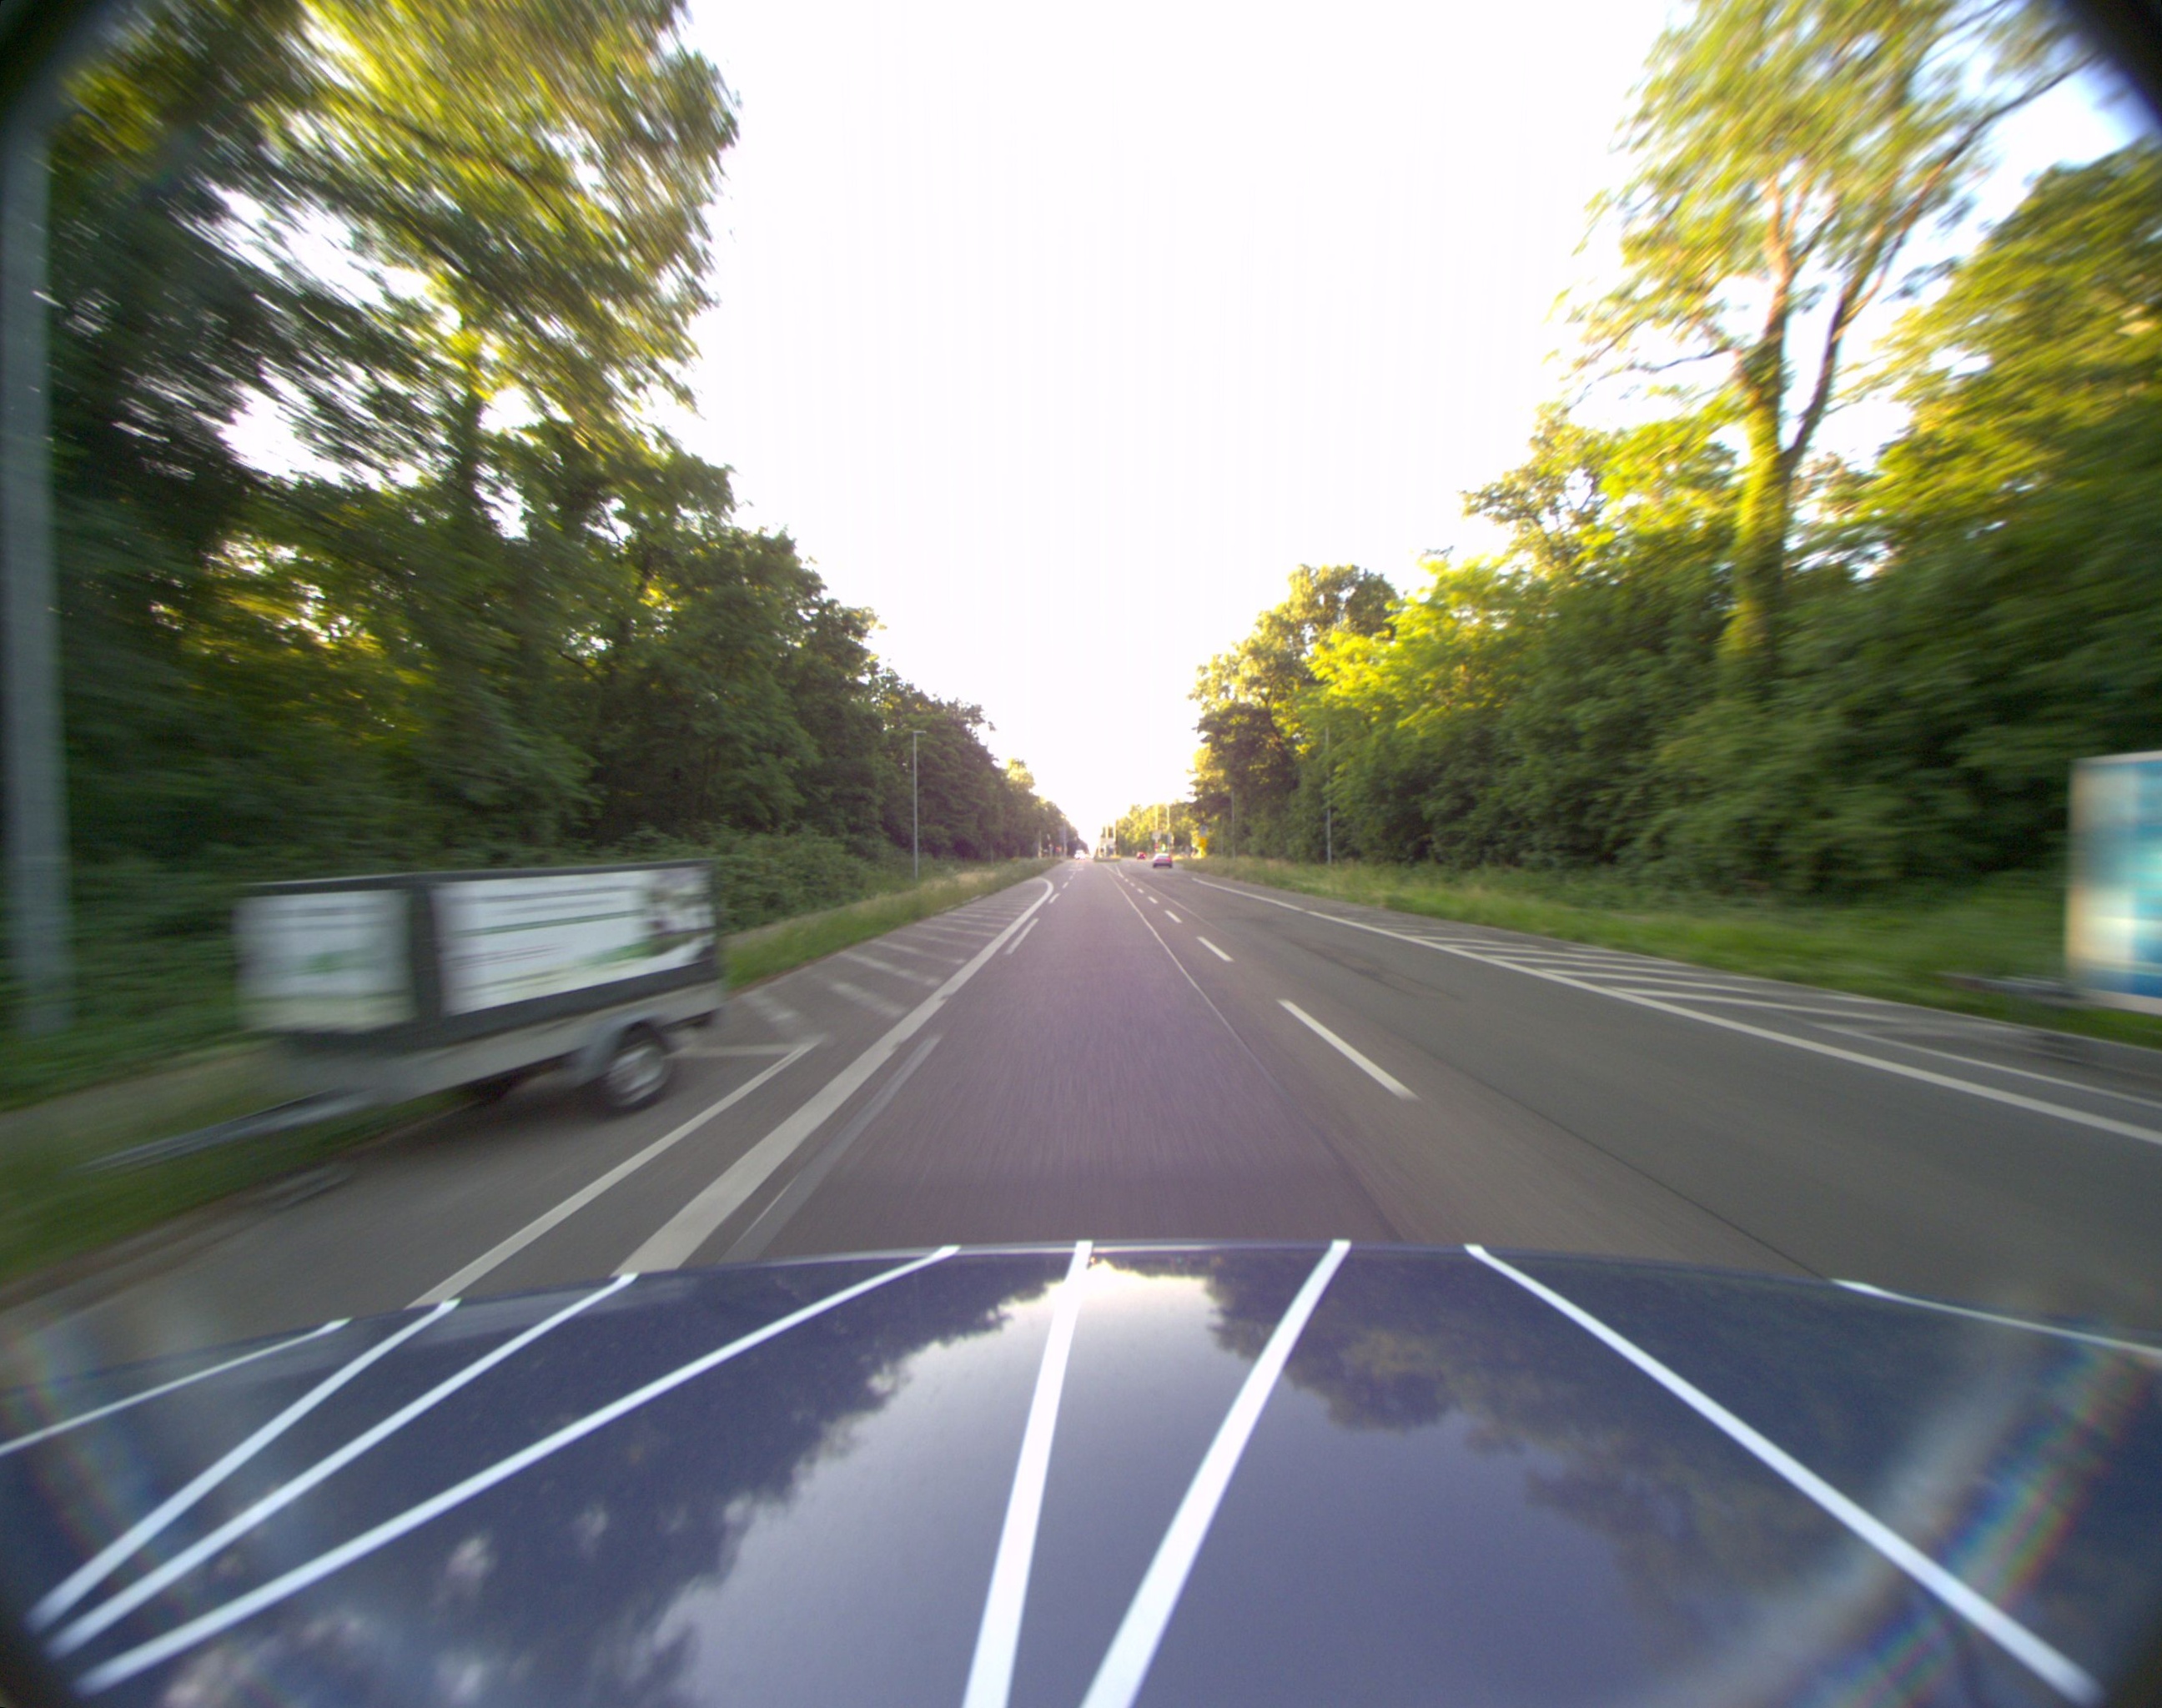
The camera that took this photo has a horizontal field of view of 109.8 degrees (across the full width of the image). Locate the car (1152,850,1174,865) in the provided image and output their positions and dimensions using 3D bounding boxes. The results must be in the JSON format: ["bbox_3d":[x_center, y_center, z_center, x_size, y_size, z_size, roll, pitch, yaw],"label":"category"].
[{"bbox_3d":[8.565,0.389,79.679,2.068,1.426,4.468,0,-2,3],"label":"car"}]

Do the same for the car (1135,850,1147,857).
[{"bbox_3d":[13.400,-0.175,170.273,1.821,1.525,4.460,1,1,15],"label":"car"}]

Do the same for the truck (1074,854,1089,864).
[{"bbox_3d":[0.098,1.322,207.836,2.601,2.543,6.027,-1,2,14],"label":"truck"}]

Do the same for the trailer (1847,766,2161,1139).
[{"bbox_3d":[7.158,0.571,4.119,1.822,2.155,4.142,0,0,0],"label":"trailer"}]

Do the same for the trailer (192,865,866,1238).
[{"bbox_3d":[-3.330,0.944,5.531,1.457,1.652,3.782,0,1,19],"label":"trailer"}]
